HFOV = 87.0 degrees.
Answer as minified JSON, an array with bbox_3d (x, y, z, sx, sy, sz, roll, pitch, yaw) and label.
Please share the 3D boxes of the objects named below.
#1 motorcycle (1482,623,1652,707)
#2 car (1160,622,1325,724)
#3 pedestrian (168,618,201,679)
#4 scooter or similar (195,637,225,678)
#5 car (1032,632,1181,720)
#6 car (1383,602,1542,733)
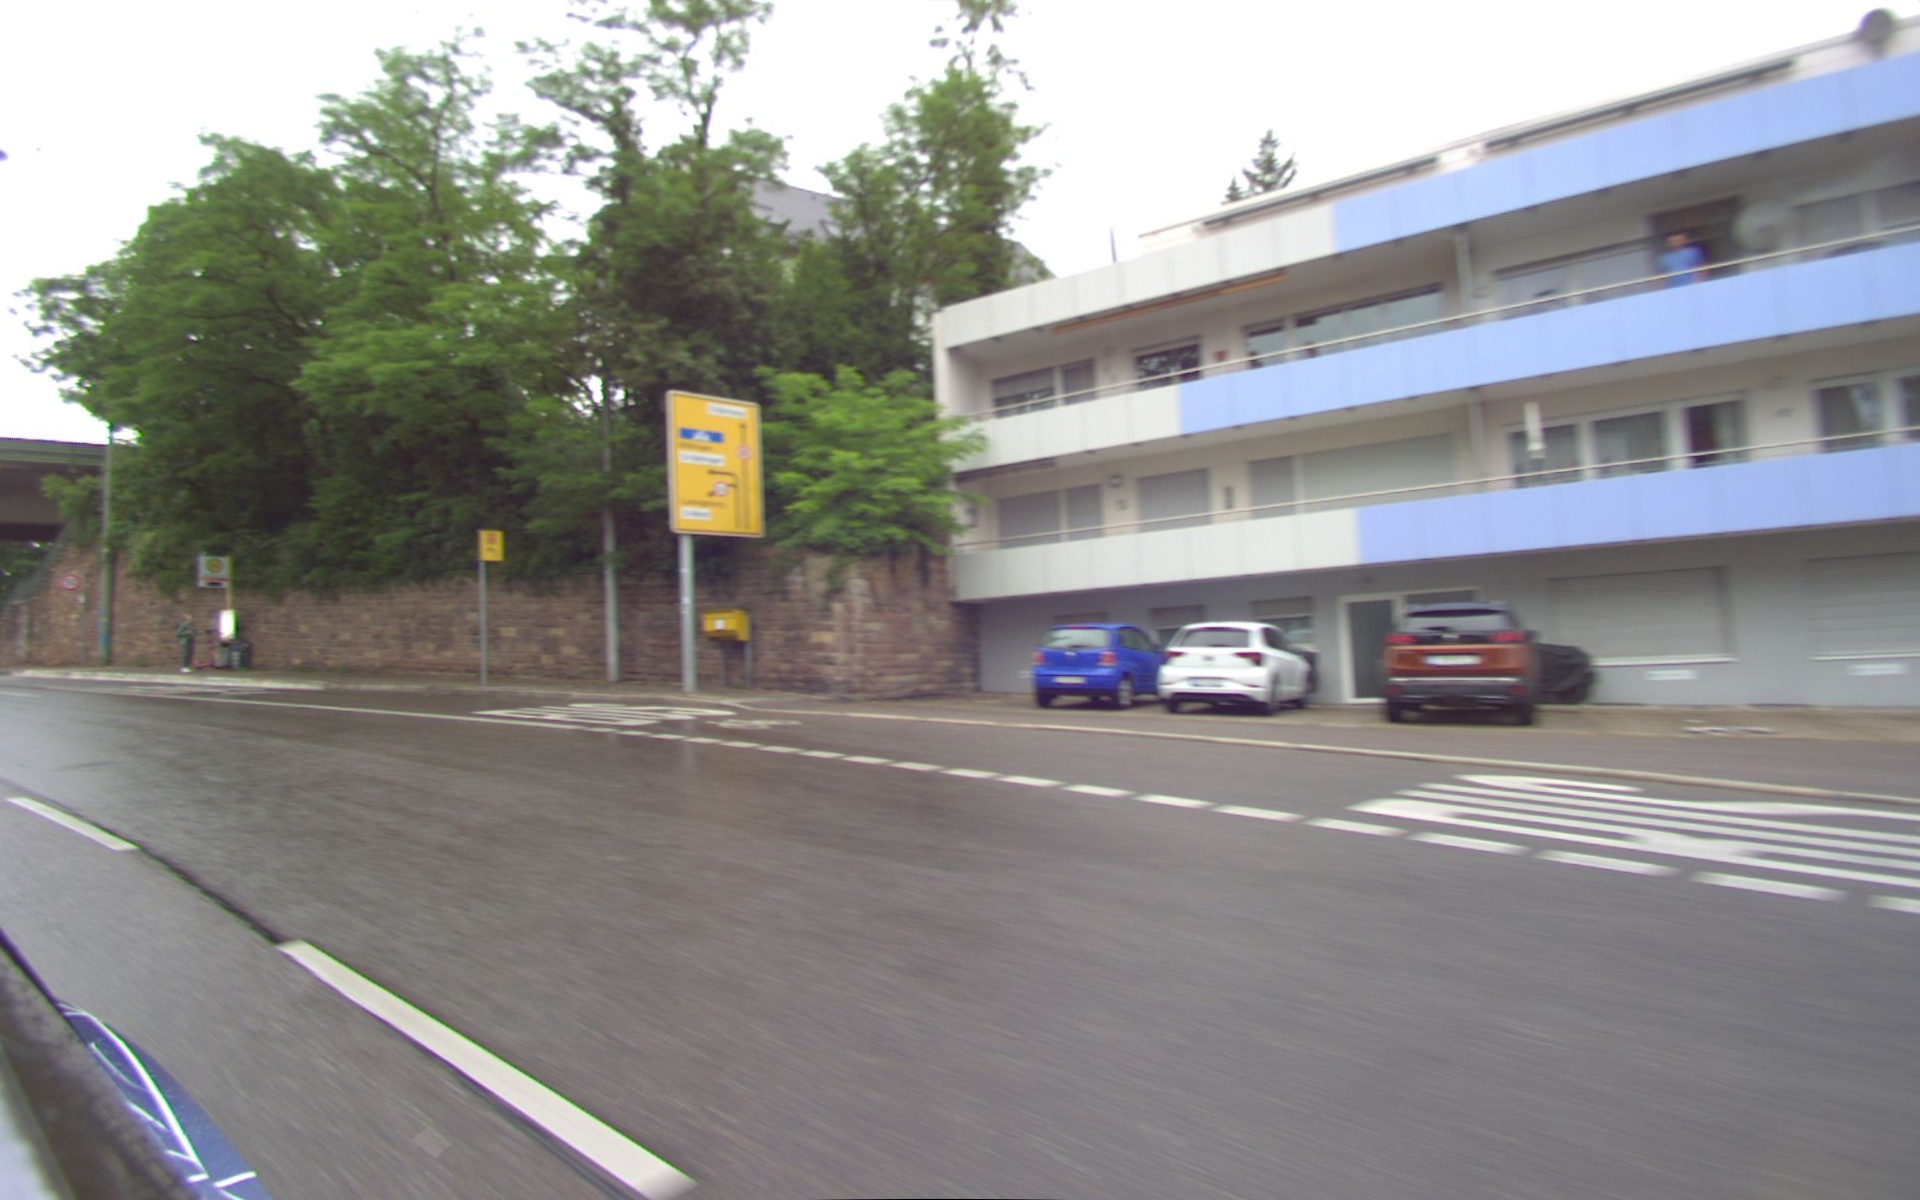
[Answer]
[{"bbox_3d":[9.944,1.043,16.658,2.315,1.320,0.571,0,-1,17],"label":"motorcycle"},{"bbox_3d":[4.681,1.172,16.479,1.702,1.456,3.404,-3,-4,31],"label":"car"},{"bbox_3d":[-22.856,1.419,29.835,0.620,1.745,0.583,0,-1,30],"label":"pedestrian"},{"bbox_3d":[-22.923,1.752,30.932,1.121,1.190,0.370,0,-1,32],"label":"scooter or similar"},{"bbox_3d":[2.686,1.270,18.012,1.629,1.401,3.410,-1,-2,27],"label":"car"},{"bbox_3d":[7.104,0.901,14.193,1.708,1.562,3.896,-2,-3,29],"label":"car"}]
